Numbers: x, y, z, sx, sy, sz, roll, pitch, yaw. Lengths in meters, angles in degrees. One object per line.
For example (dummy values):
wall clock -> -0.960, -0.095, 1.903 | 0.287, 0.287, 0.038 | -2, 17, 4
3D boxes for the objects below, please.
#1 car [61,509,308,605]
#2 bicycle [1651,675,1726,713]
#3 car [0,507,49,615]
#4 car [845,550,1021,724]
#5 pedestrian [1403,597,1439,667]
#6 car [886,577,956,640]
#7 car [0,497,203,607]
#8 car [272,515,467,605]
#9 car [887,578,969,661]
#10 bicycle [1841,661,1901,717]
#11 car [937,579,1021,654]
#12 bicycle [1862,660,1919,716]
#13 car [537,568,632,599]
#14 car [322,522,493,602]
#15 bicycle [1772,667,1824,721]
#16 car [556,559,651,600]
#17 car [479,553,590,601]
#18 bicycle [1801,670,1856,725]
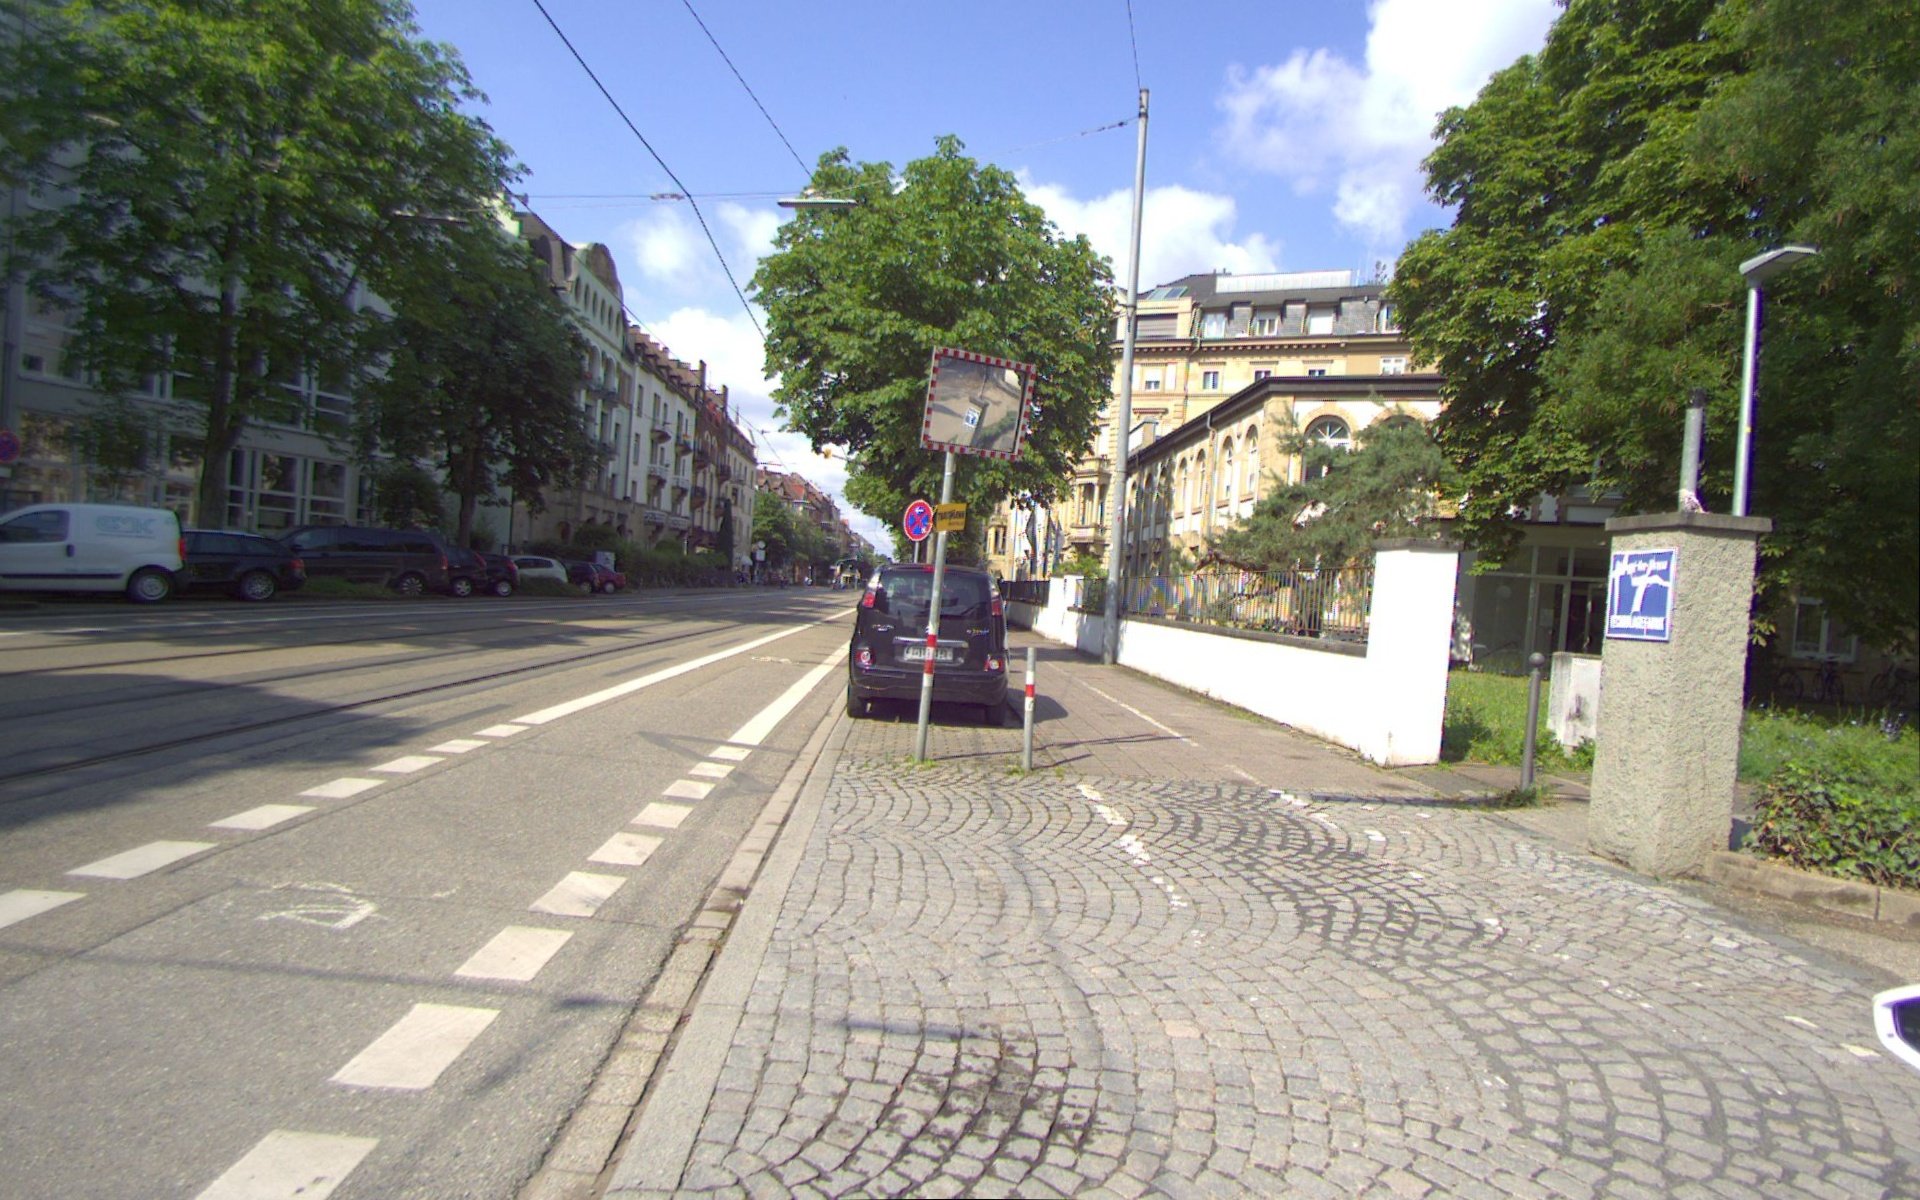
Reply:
car -> -15.822, -0.796, 20.625 | 1.856, 1.735, 3.739 | -2, -1, 41
bicycle -> 17.940, 2.330, 24.753 | 1.368, 0.831, 0.419 | -6, -3, 26
car -> -15.587, -0.558, 14.331 | 1.736, 1.520, 3.620 | -3, -2, 39
car -> -0.348, 0.364, 11.434 | 1.647, 1.633, 3.583 | 2, 0, -3
pedestrian -> 11.431, 0.783, 24.944 | 0.758, 1.700, 0.808 | -2, -1, 24
car -> -1.146, 0.276, 30.268 | 1.928, 1.728, 4.000 | -1, -1, -1
car -> -15.687, -0.779, 17.469 | 1.856, 1.735, 3.739 | -2, -1, 41
car -> -16.016, -1.009, 27.395 | 1.856, 2.108, 4.183 | 1, -2, 41
car -> -0.776, 0.377, 23.193 | 1.647, 1.633, 3.582 | -4, 2, -3
bicycle -> 20.308, 1.964, 22.435 | 0.412, 1.070, 2.064 | -6, -3, 28
car -> 0.371, 0.378, 23.198 | 1.640, 1.505, 3.278 | -4, -1, -3
bicycle -> 20.735, 1.929, 22.345 | 0.412, 1.070, 2.064 | -6, -3, 28
car -> -17.344, -0.760, 46.473 | 3.758, 1.323, 1.618 | 0, -1, -42
car -> -16.639, -1.065, 30.349 | 4.174, 2.108, 1.860 | 3, -2, -43
bicycle -> 19.301, 2.140, 23.172 | 0.412, 1.070, 2.064 | -6, -3, 28
car -> -15.785, -0.891, 44.532 | 3.579, 1.598, 1.613 | 3, -2, -43
car -> -16.650, -0.912, 39.384 | 3.577, 1.598, 1.614 | -5, 1, -43
bicycle -> 19.740, 2.192, 22.861 | 0.412, 1.070, 2.064 | -6, -3, 28
